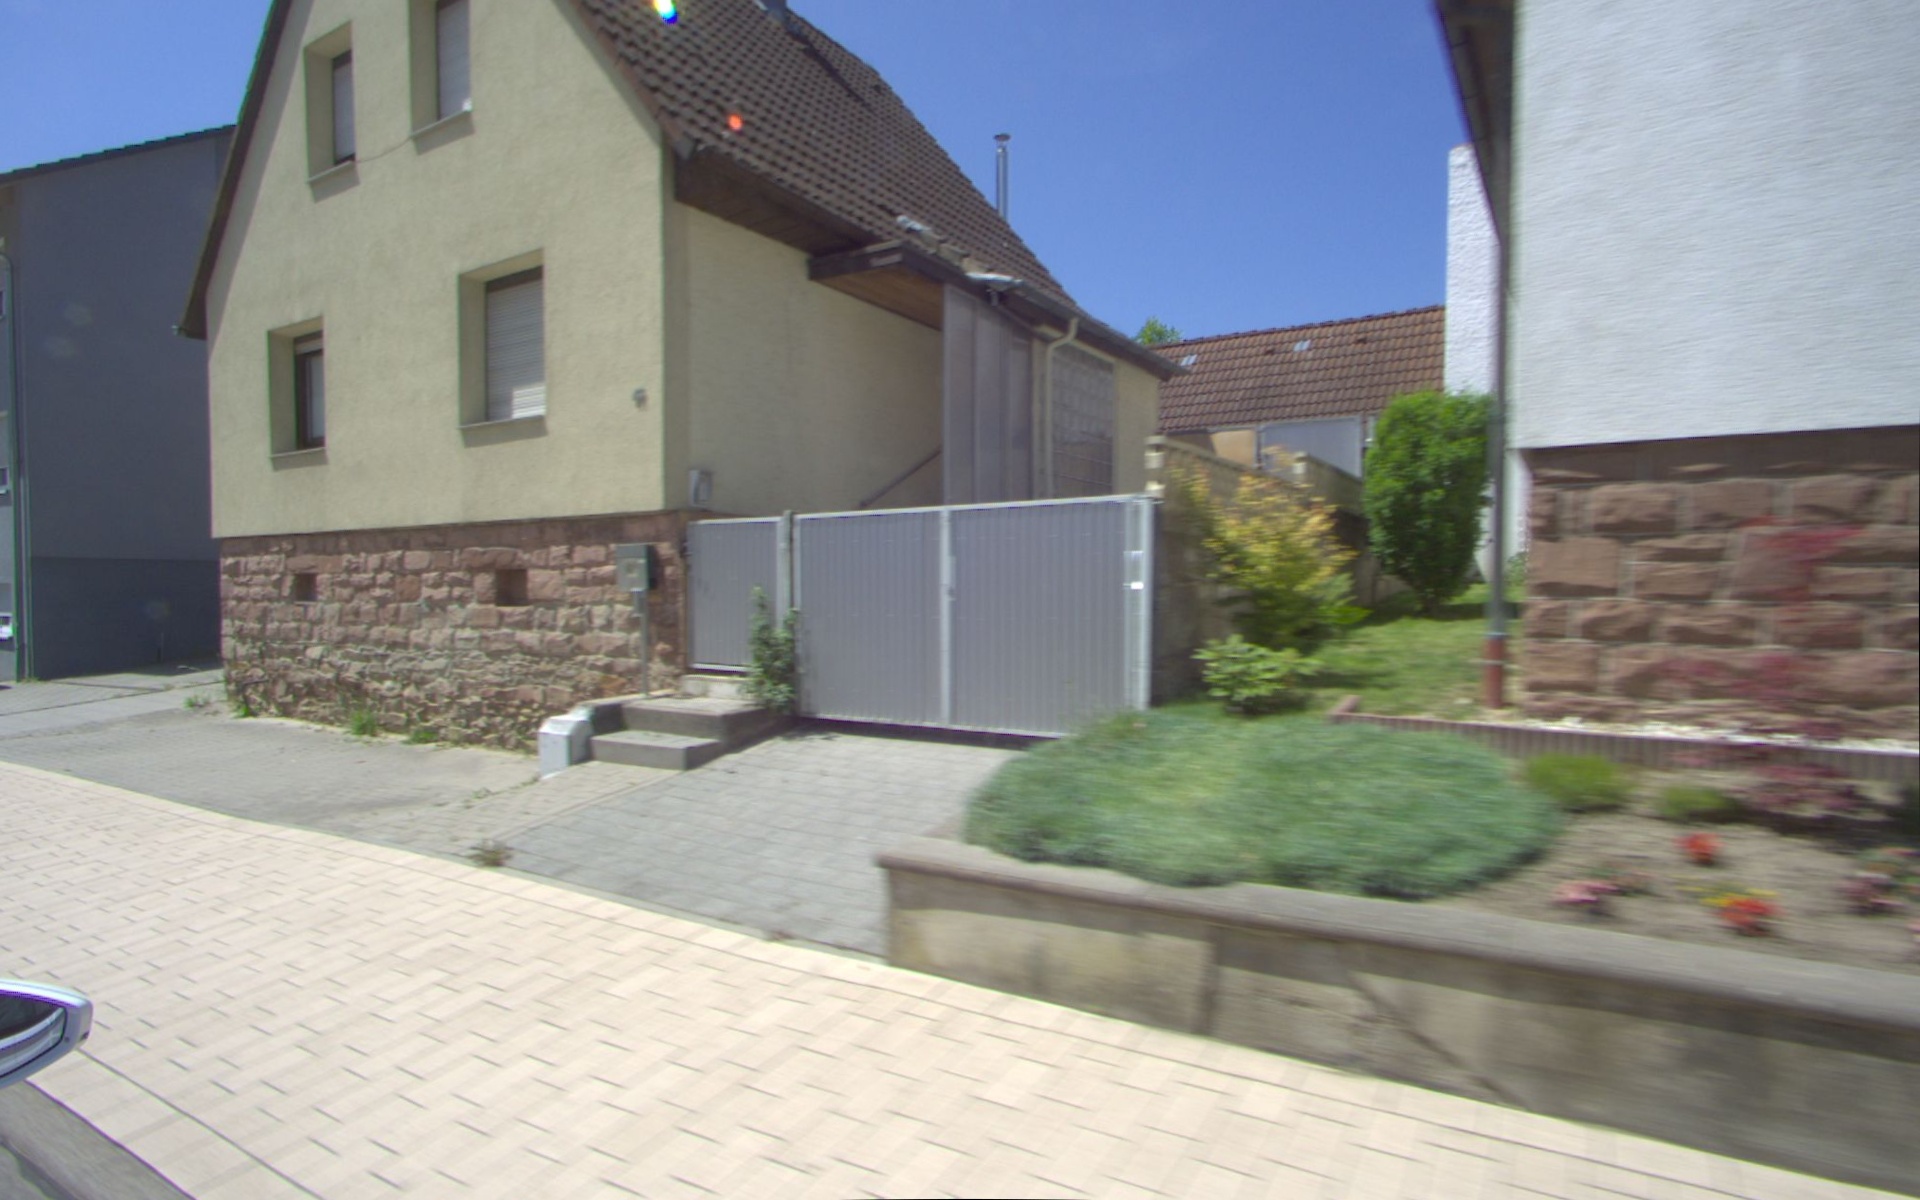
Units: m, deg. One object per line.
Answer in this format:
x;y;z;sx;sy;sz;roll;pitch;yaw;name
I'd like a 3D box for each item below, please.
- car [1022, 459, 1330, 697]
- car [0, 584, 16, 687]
2.231;-0.088;9.423;1.666;1.727;3.982;0;-2;31;car
-16.462;0.605;15.389;4.458;1.563;1.784;-1;6;34;car
